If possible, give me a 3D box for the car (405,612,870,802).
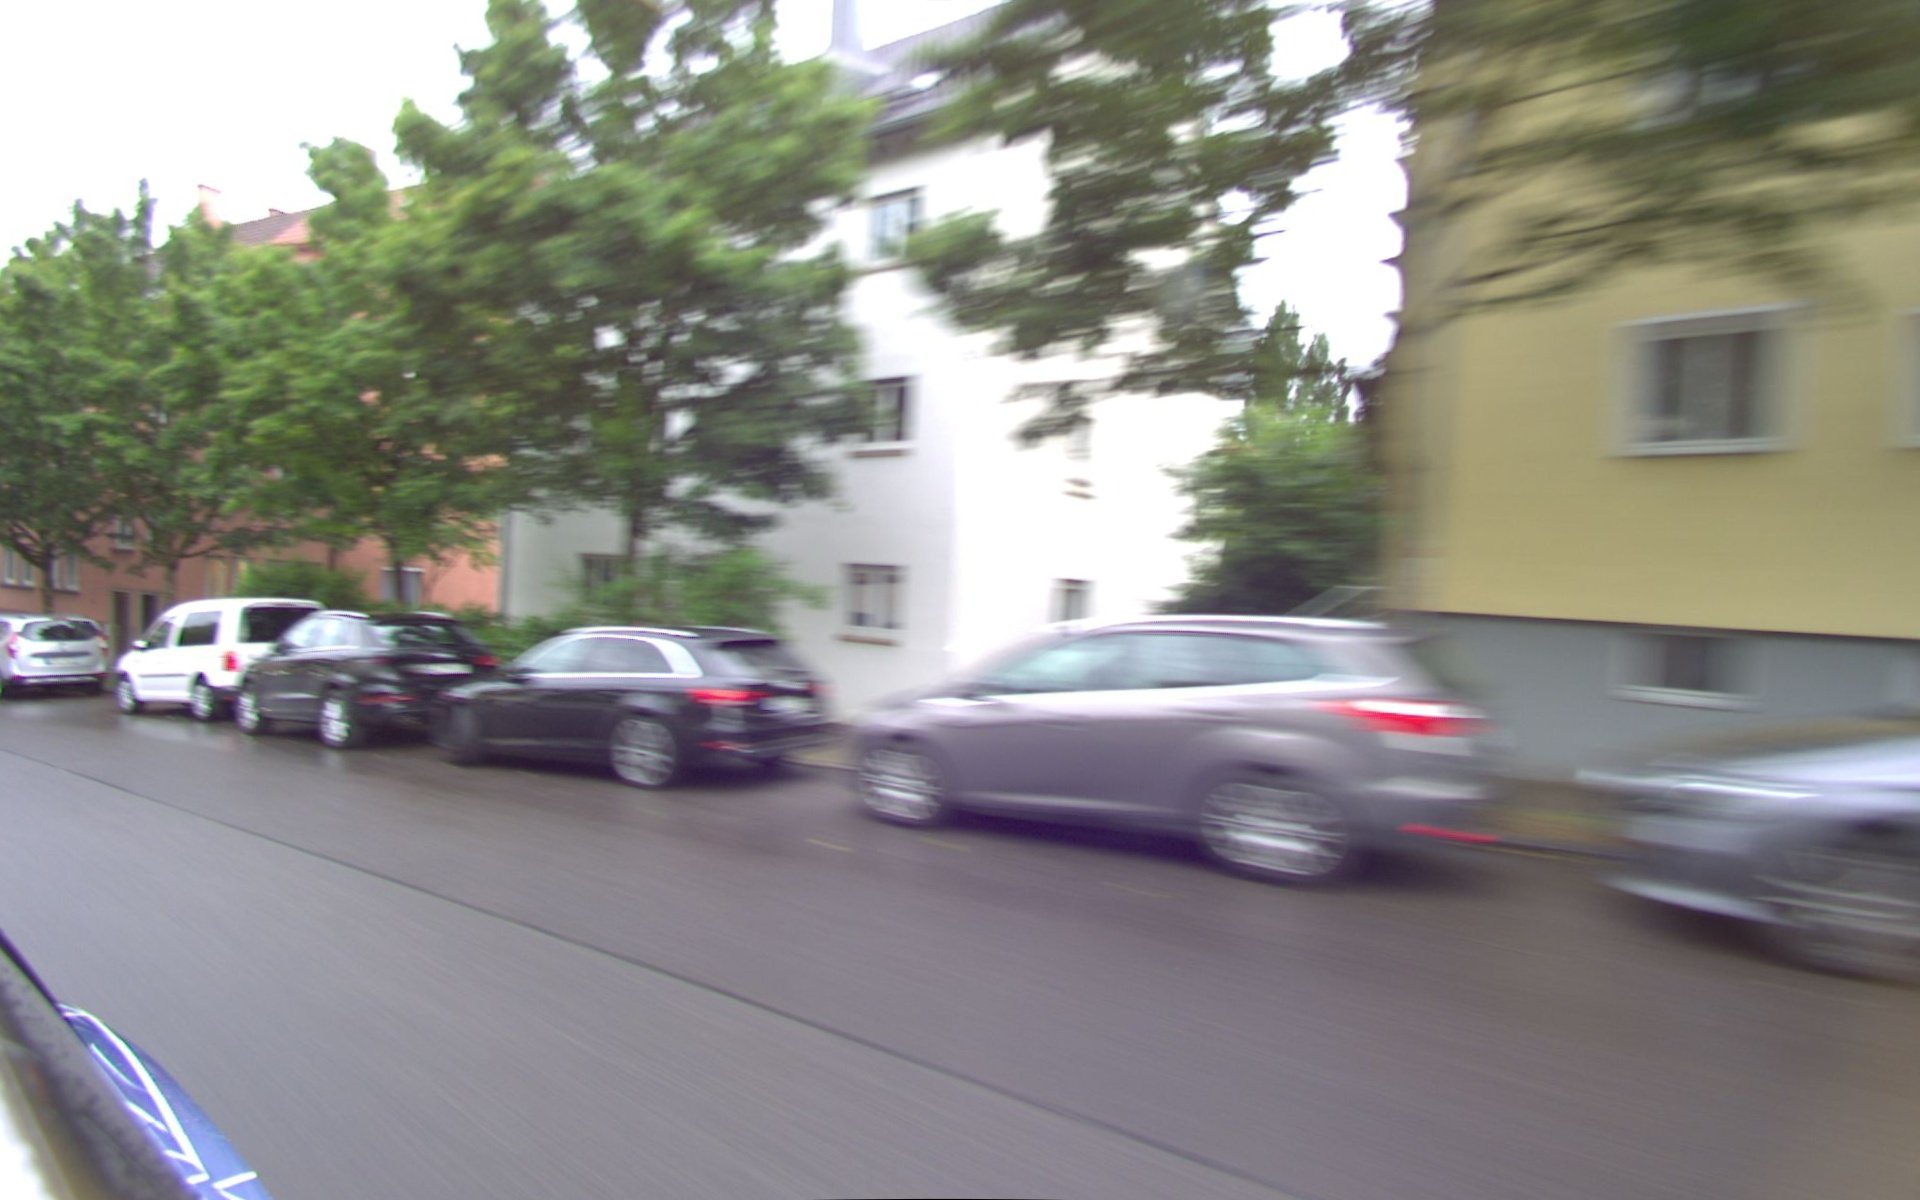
[{"bbox_3d":[-3.336,0.911,10.124,4.725,1.510,1.839,-1,-2,32],"label":"car"}]

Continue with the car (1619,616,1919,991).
[{"bbox_3d":[5.053,0.755,3.752,4.313,1.407,1.600,-1,-2,35],"label":"car"}]

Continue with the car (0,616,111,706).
[{"bbox_3d":[-19.615,1.199,21.065,4.586,1.703,1.733,-1,-1,33],"label":"car"}]

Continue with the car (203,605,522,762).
[{"bbox_3d":[-7.741,0.934,12.954,4.578,1.680,1.838,-1,-1,36],"label":"car"}]

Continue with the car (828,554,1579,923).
[{"bbox_3d":[1.415,0.702,6.779,4.545,1.703,1.837,-1,-3,36],"label":"car"}]

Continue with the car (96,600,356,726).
[{"bbox_3d":[-11.937,0.959,16.394,4.467,1.790,1.840,-1,-2,32],"label":"car"}]
